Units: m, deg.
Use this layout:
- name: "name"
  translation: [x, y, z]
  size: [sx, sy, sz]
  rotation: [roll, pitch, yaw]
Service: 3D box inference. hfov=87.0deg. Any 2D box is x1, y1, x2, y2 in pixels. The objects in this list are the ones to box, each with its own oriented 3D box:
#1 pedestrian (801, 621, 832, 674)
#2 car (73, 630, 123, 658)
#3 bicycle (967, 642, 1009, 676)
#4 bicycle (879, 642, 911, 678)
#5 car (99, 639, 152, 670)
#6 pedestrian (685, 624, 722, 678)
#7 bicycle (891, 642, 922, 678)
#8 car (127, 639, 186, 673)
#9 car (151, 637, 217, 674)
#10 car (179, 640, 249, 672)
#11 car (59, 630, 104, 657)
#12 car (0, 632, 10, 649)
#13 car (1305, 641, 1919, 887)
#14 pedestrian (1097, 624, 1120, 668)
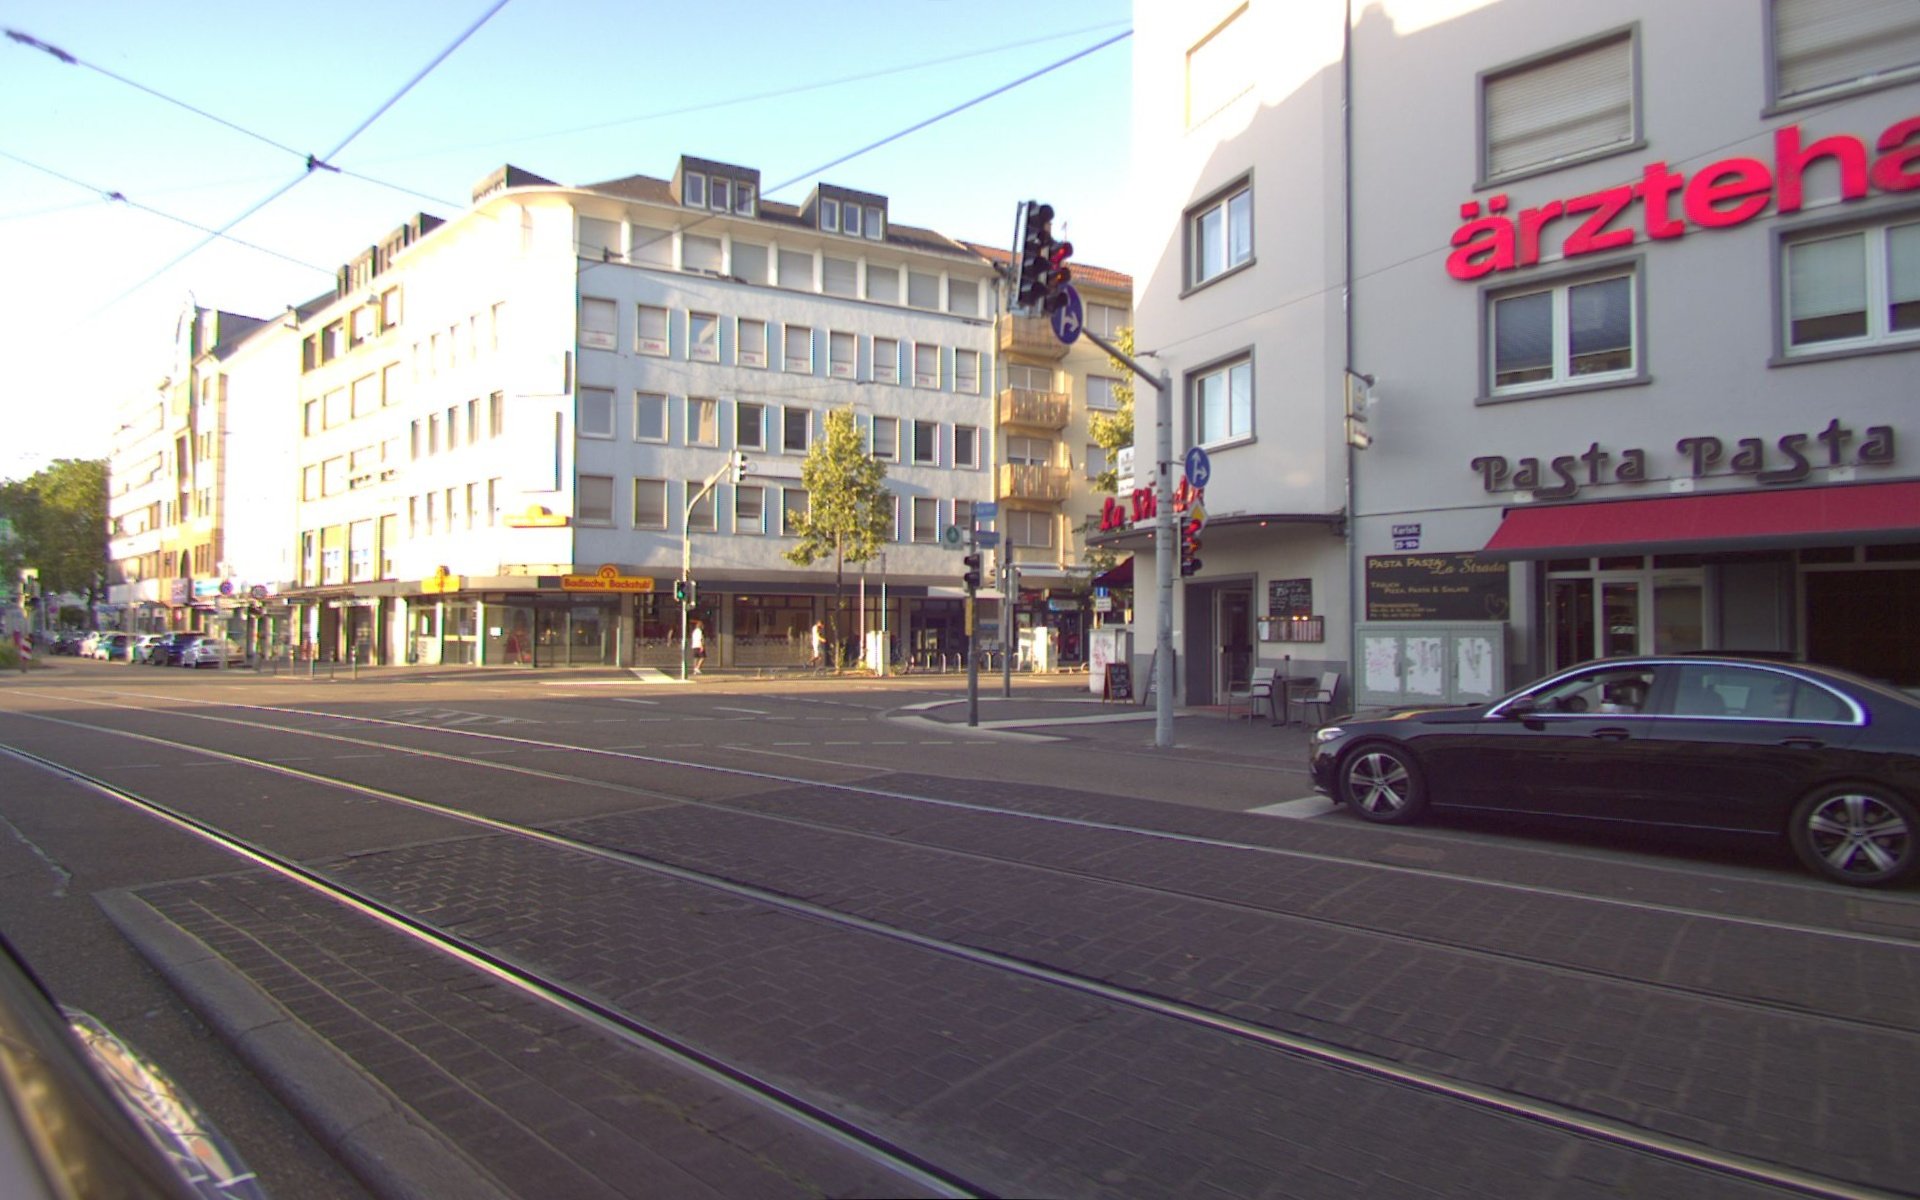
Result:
- name: "pedestrian"
  translation: [-5.186, 1.704, 36.508]
  size: [0.981, 1.901, 0.806]
  rotation: [0, -1, 3]
- name: "car"
  translation: [-51.267, 2.600, 60.160]
  size: [4.001, 1.648, 1.822]
  rotation: [-2, -3, 44]
- name: "bicycle"
  translation: [1.006, 2.143, 36.838]
  size: [0.462, 1.213, 1.923]
  rotation: [2, -3, -35]
- name: "bicycle"
  translation: [-2.263, 2.054, 35.136]
  size: [0.462, 1.213, 1.925]
  rotation: [1, -3, -23]
- name: "car"
  translation: [-46.927, 3.032, 56.894]
  size: [4.001, 1.648, 1.822]
  rotation: [-2, -3, 44]
- name: "pedestrian"
  translation: [-8.522, 1.680, 33.648]
  size: [0.981, 1.739, 0.806]
  rotation: [0, -1, 3]
- name: "bicycle"
  translation: [-1.886, 2.079, 35.477]
  size: [0.462, 1.213, 1.925]
  rotation: [1, -3, -23]
- name: "car"
  translation: [-41.045, 2.812, 51.667]
  size: [4.001, 1.648, 1.822]
  rotation: [-2, -3, 44]
- name: "car"
  translation: [-36.422, 2.561, 47.471]
  size: [4.001, 1.648, 1.822]
  rotation: [-2, -3, 44]
- name: "car"
  translation: [-32.882, 2.428, 44.589]
  size: [4.001, 1.304, 1.822]
  rotation: [-2, -3, 44]
- name: "car"
  translation: [-56.152, 2.776, 64.677]
  size: [4.001, 1.648, 1.822]
  rotation: [-2, -3, 44]
- name: "car"
  translation: [-95.303, 3.957, 99.989]
  size: [4.001, 1.648, 1.822]
  rotation: [-2, -3, 44]
- name: "car"
  translation: [5.151, 1.048, 7.484]
  size: [4.562, 1.397, 1.894]
  rotation: [-2, -5, 42]
- name: "pedestrian"
  translation: [6.226, 1.924, 42.553]
  size: [0.639, 1.821, 0.712]
  rotation: [2, -5, -25]
